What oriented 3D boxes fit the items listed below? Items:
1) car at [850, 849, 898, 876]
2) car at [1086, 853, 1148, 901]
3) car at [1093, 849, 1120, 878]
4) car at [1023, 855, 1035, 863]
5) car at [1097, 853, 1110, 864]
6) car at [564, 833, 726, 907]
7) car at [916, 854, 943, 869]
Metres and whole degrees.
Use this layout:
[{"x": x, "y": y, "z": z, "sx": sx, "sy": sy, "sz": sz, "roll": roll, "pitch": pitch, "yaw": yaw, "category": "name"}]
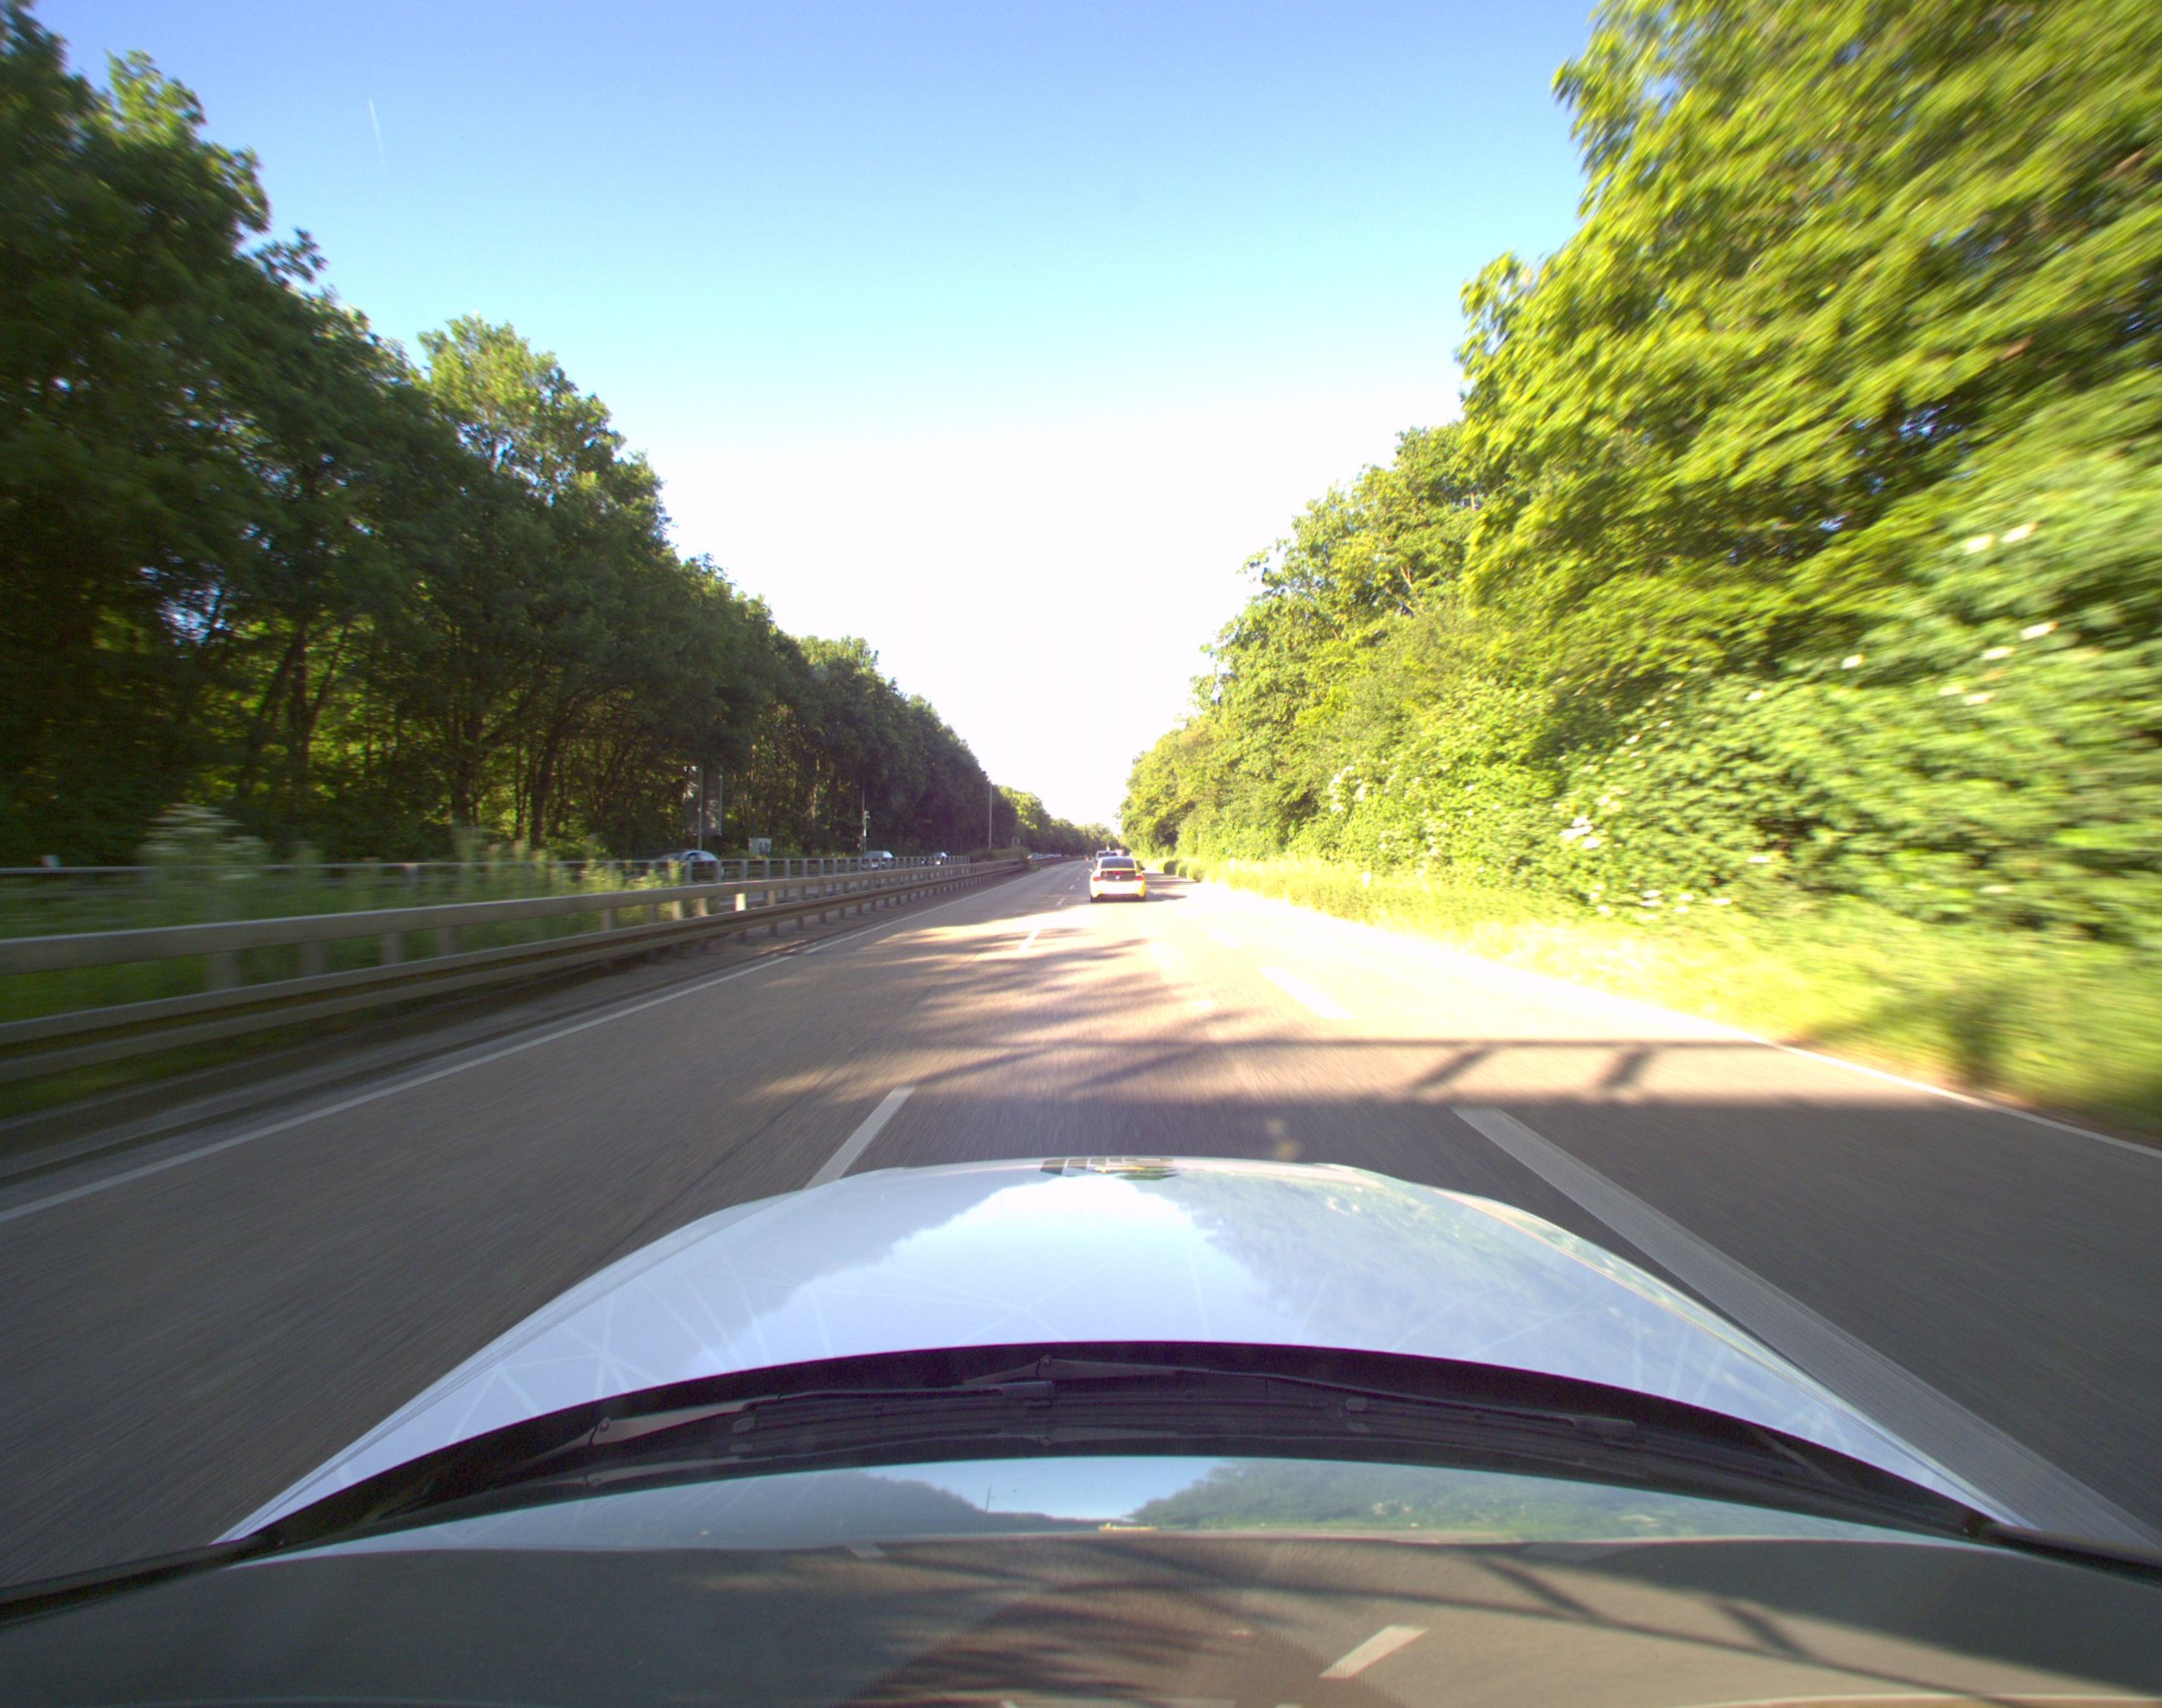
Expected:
[{"x": -13.683, "y": 0.571, "z": 54.035, "sx": 1.986, "sy": 1.750, "sz": 4.374, "roll": 0, "pitch": -1, "yaw": 1, "category": "car"}, {"x": 1.261, "y": 0.734, "z": 27.158, "sx": 1.930, "sy": 1.508, "sz": 3.427, "roll": 0, "pitch": -1, "yaw": 5, "category": "car"}, {"x": 1.698, "y": 0.639, "z": 55.653, "sx": 1.735, "sy": 1.830, "sz": 3.423, "roll": -1, "pitch": 0, "yaw": 1, "category": "car"}, {"x": -10.902, "y": 1.100, "z": 170.583, "sx": 1.986, "sy": 1.600, "sz": 4.708, "roll": 0, "pitch": -1, "yaw": 1, "category": "car"}, {"x": 3.385, "y": 0.678, "z": 124.679, "sx": 1.986, "sy": 1.750, "sz": 4.373, "roll": 0, "pitch": -1, "yaw": 1, "category": "car"}, {"x": -11.123, "y": 0.373, "z": 21.154, "sx": 1.890, "sy": 1.716, "sz": 4.112, "roll": 1, "pitch": 0, "yaw": 2, "category": "car"}, {"x": -15.197, "y": 0.736, "z": 81.970, "sx": 1.724, "sy": 1.489, "sz": 4.455, "roll": 1, "pitch": 0, "yaw": 1, "category": "car"}]
